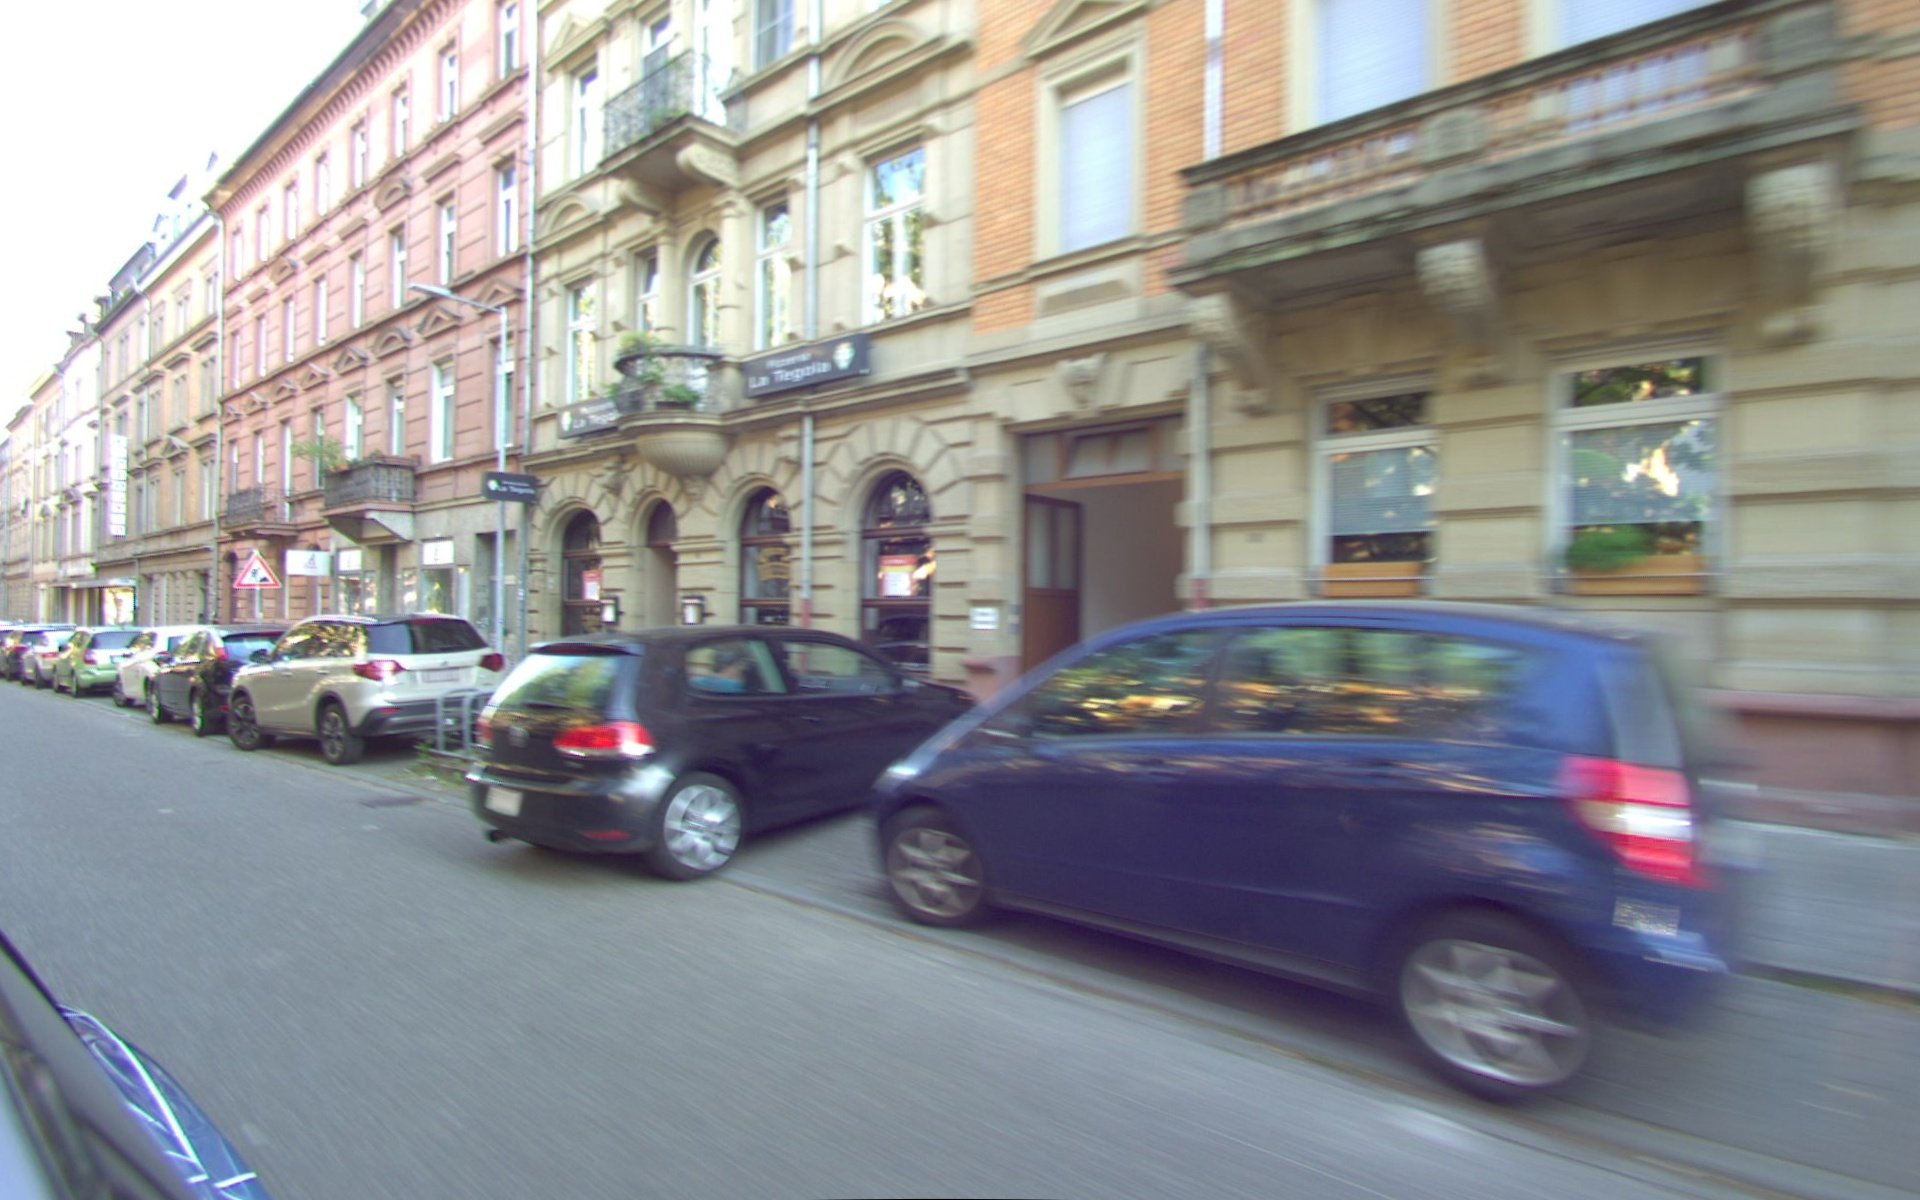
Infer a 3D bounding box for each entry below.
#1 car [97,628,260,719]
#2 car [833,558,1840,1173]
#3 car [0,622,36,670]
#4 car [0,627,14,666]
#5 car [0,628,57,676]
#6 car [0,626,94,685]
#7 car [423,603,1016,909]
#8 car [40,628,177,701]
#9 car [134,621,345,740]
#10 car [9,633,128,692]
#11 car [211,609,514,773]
[{"bbox_3d":[-14.310,1.254,18.453,3.997,1.484,1.565,-1,-2,41],"label":"car"},{"bbox_3d":[1.368,0.736,4.567,3.893,1.579,1.723,-1,-2,42],"label":"car"},{"bbox_3d":[-34.038,1.600,35.577,4.311,1.612,1.802,-2,-1,41],"label":"car"},{"bbox_3d":[-38.852,1.811,39.913,4.487,1.484,1.842,-2,-2,42],"label":"car"},{"bbox_3d":[-30.712,1.657,32.666,4.311,1.436,1.802,-2,-1,41],"label":"car"},{"bbox_3d":[-25.827,1.497,28.314,4.421,1.488,1.802,-2,-1,41],"label":"car"},{"bbox_3d":[-1.402,0.860,7.286,1.822,1.541,3.952,-1,-2,35],"label":"car"},{"bbox_3d":[-18.610,1.335,22.063,3.957,1.450,1.687,-2,-2,41],"label":"car"},{"bbox_3d":[-10.833,1.105,15.124,3.997,1.484,1.631,-1,1,41],"label":"car"},{"bbox_3d":[-22.154,1.488,25.110,4.099,1.333,1.687,-2,-2,41],"label":"car"},{"bbox_3d":[-7.147,0.953,11.965,4.042,1.586,1.632,-2,1,37],"label":"car"}]
